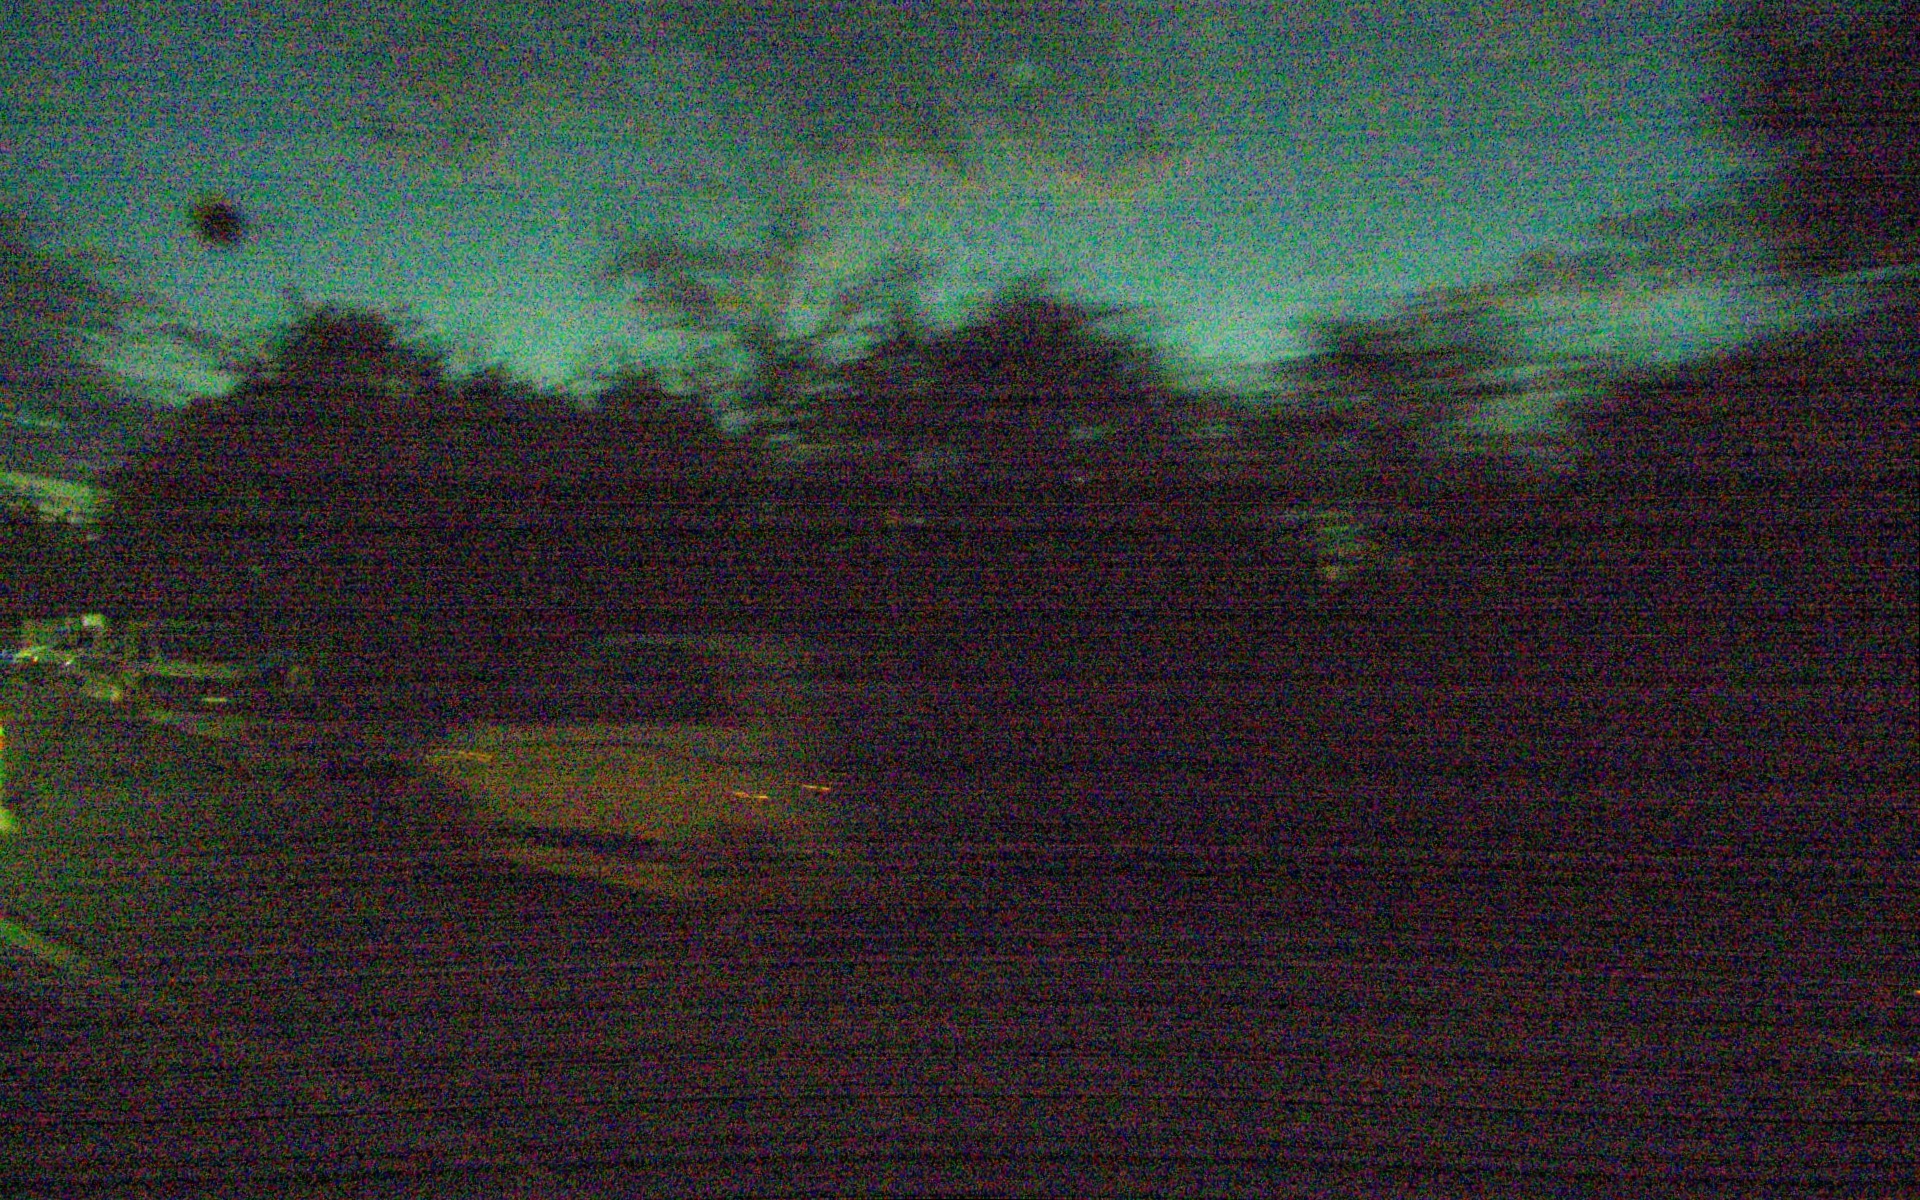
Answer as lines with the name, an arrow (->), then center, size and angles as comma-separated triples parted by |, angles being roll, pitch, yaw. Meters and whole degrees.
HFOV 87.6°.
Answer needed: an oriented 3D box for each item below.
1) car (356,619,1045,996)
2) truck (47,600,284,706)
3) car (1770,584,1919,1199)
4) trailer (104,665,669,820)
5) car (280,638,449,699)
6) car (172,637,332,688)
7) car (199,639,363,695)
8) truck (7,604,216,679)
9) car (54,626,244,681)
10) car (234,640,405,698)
car -> -1.679, 0.946, 6.116 | 3.945, 1.571, 1.931 | -1, -4, 34
truck -> -19.936, 1.286, 24.956 | 7.637, 2.312, 2.373 | -1, -3, 34
car -> 4.116, 0.784, 1.472 | 4.261, 1.571, 1.993 | 0, -3, 30
trailer -> -7.341, 1.430, 11.862 | 9.491, 0.978, 2.169 | -1, -5, 37
car -> -17.148, 1.963, 29.008 | 1.685, 1.624, 3.850 | -1, -3, 32
car -> -22.788, 2.022, 32.360 | 1.685, 1.534, 3.850 | -1, -3, 32
car -> -21.057, 2.058, 31.178 | 1.685, 1.615, 3.850 | -1, -3, 32
truck -> -31.867, 1.614, 37.794 | 2.438, 2.632, 5.521 | -1, -3, 34
car -> -29.547, 1.966, 36.655 | 1.964, 1.859, 5.059 | -1, -4, 37
car -> -18.938, 2.023, 29.758 | 1.877, 1.580, 3.846 | -1, -4, 36
